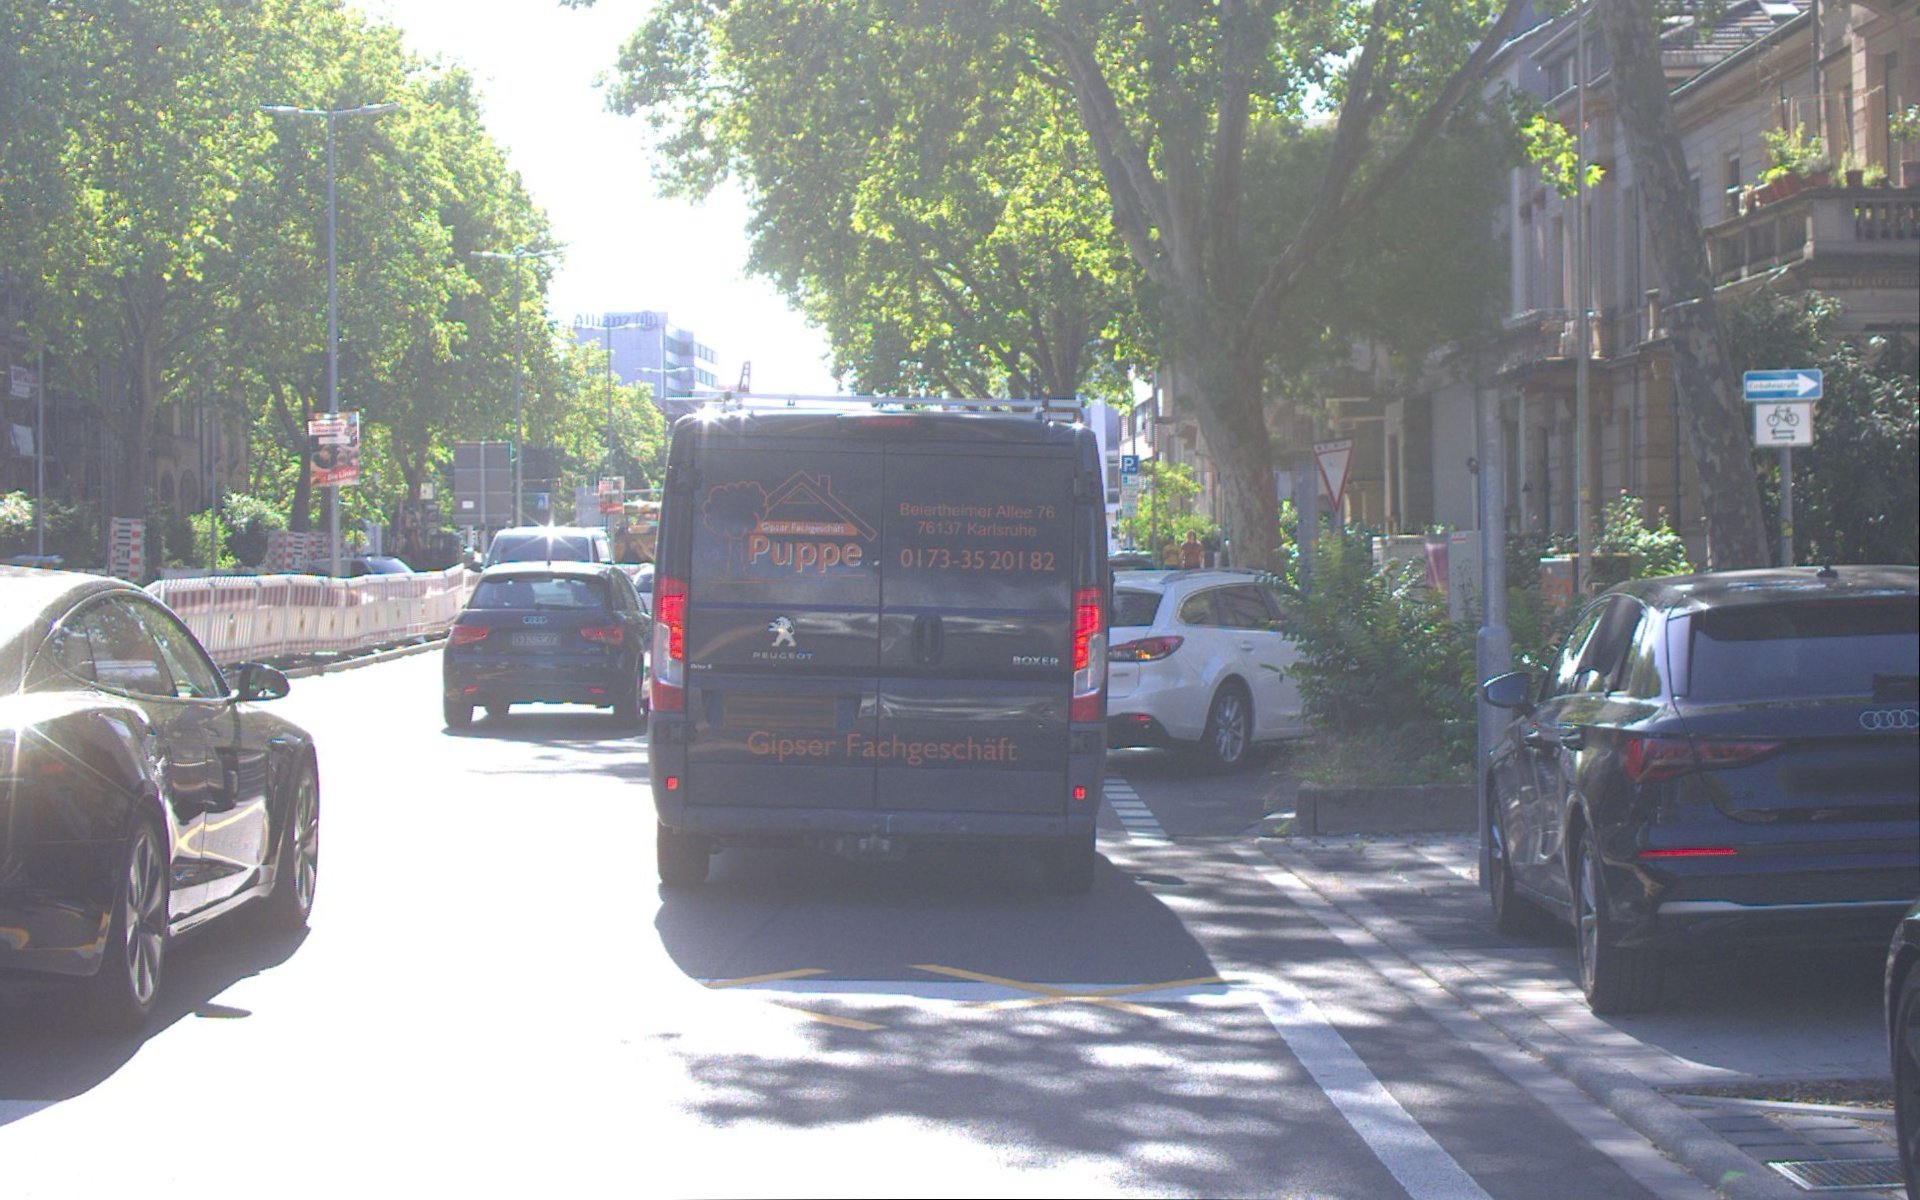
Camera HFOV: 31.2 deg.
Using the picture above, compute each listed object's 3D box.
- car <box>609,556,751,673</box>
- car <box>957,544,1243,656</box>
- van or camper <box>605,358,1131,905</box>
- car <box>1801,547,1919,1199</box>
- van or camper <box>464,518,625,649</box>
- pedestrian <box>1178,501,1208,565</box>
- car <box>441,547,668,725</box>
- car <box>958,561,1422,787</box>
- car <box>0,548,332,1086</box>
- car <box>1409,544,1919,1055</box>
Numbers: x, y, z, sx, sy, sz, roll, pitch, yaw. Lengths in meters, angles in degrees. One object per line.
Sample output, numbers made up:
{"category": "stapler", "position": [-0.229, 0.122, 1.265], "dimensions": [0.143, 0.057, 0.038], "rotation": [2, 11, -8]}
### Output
{"category": "car", "position": [-3.682, 0.164, 45.662], "dimensions": [1.619, 1.481, 3.734], "rotation": [0, 1, -1]}
{"category": "car", "position": [2.164, -0.004, 53.062], "dimensions": [3.992, 1.563, 1.776], "rotation": [2, 0, 22]}
{"category": "van or camper", "position": [-0.476, 0.107, 17.000], "dimensions": [2.245, 2.338, 4.538], "rotation": [0, 1, -2]}
{"category": "car", "position": [2.757, 0.628, 5.719], "dimensions": [1.619, 1.481, 4.057], "rotation": [-2, 1, -1]}
{"category": "van or camper", "position": [-6.705, -0.296, 55.999], "dimensions": [1.993, 2.007, 5.329], "rotation": [-1, 1, 0]}
{"category": "pedestrian", "position": [8.649, -2.477, 127.541], "dimensions": [1.058, 2.338, 0.816], "rotation": [1, 0, 2]}
{"category": "car", "position": [-3.549, 0.276, 30.621], "dimensions": [1.619, 1.481, 3.734], "rotation": [0, 1, -1]}
{"category": "car", "position": [1.815, 0.488, 25.821], "dimensions": [1.837, 1.481, 4.050], "rotation": [0, 2, 31]}
{"category": "car", "position": [-3.430, 0.564, 11.668], "dimensions": [1.837, 1.478, 4.476], "rotation": [0, 1, -1]}
{"category": "car", "position": [2.749, 0.568, 12.387], "dimensions": [1.619, 1.481, 4.098], "rotation": [-2, 1, -1]}
